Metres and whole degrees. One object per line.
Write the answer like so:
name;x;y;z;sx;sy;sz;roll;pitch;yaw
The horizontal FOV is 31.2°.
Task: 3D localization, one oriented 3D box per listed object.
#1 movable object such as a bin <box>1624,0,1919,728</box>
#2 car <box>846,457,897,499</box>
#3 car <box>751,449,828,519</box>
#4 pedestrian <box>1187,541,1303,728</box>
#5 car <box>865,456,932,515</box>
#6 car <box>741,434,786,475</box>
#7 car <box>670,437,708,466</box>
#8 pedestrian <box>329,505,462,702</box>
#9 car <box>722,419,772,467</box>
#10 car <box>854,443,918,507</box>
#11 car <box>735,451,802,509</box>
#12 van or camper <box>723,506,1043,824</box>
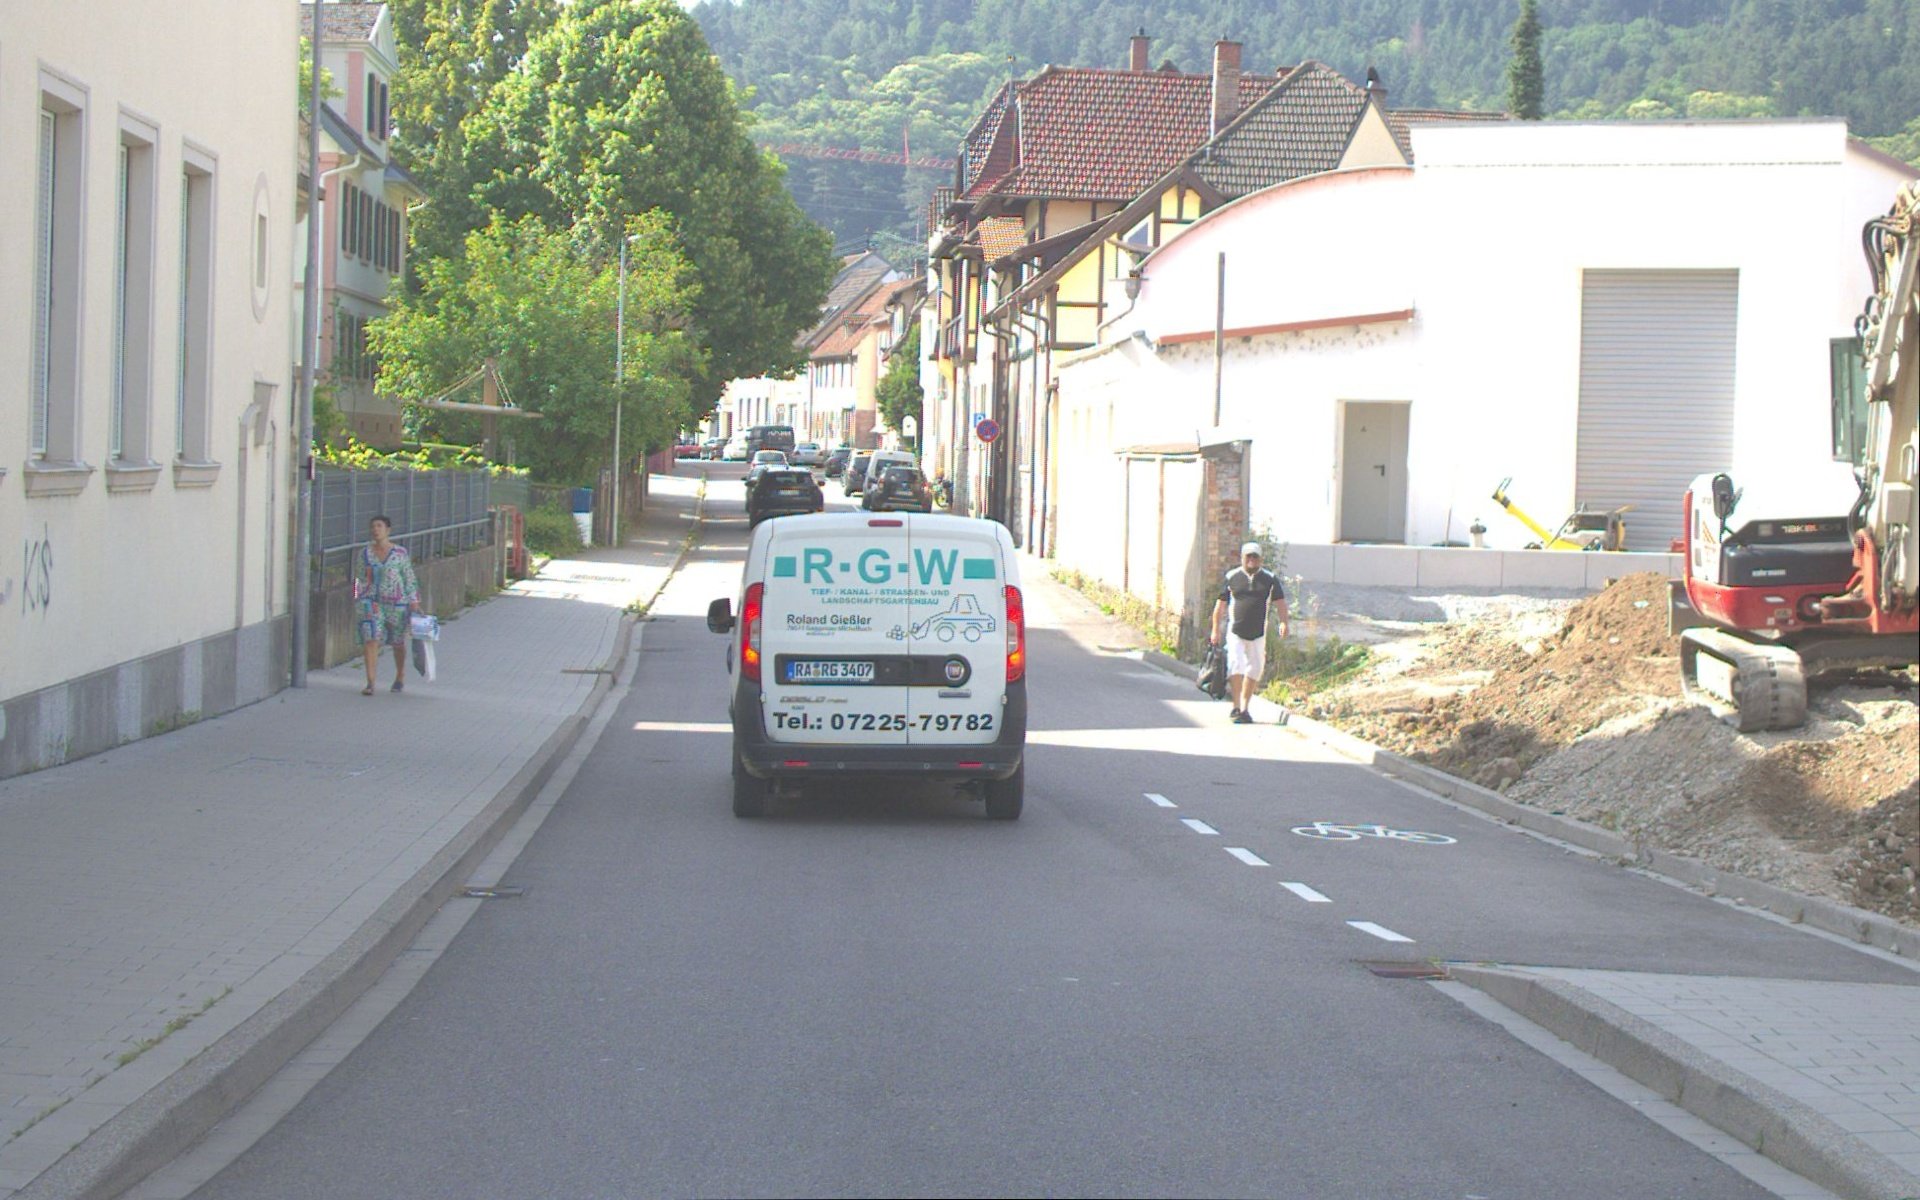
movable object such as a bin;6.078;-1.322;21.153;2.295;3.840;7.799;4;2;1
car;-3.406;-4.678;131.132;1.669;1.502;4.001;1;3;-5
car;-4.459;-3.037;89.517;1.810;1.591;3.928;4;3;-4
pedestrian;2.674;0.318;32.316;0.888;1.677;0.718;3;1;-3
car;-1.884;-3.500;104.641;1.810;1.591;3.928;4;3;-3
car;-8.460;-6.283;148.342;1.810;1.591;3.928;4;3;-3
car;-17.682;-9.711;224.125;1.771;1.792;4.002;1;3;-15
pedestrian;-4.938;0.019;30.118;0.958;1.625;0.758;5;1;-3
car;-13.110;-9.645;211.165;2.874;2.825;6.126;1;3;-5
car;-2.493;-4.196;114.649;1.871;2.006;4.001;3;3;-4
car;-5.957;-3.736;106.600;1.810;1.591;3.928;4;3;-5
van or camper;-0.588;0.355;22.069;1.828;1.838;4.189;0;1;-4
